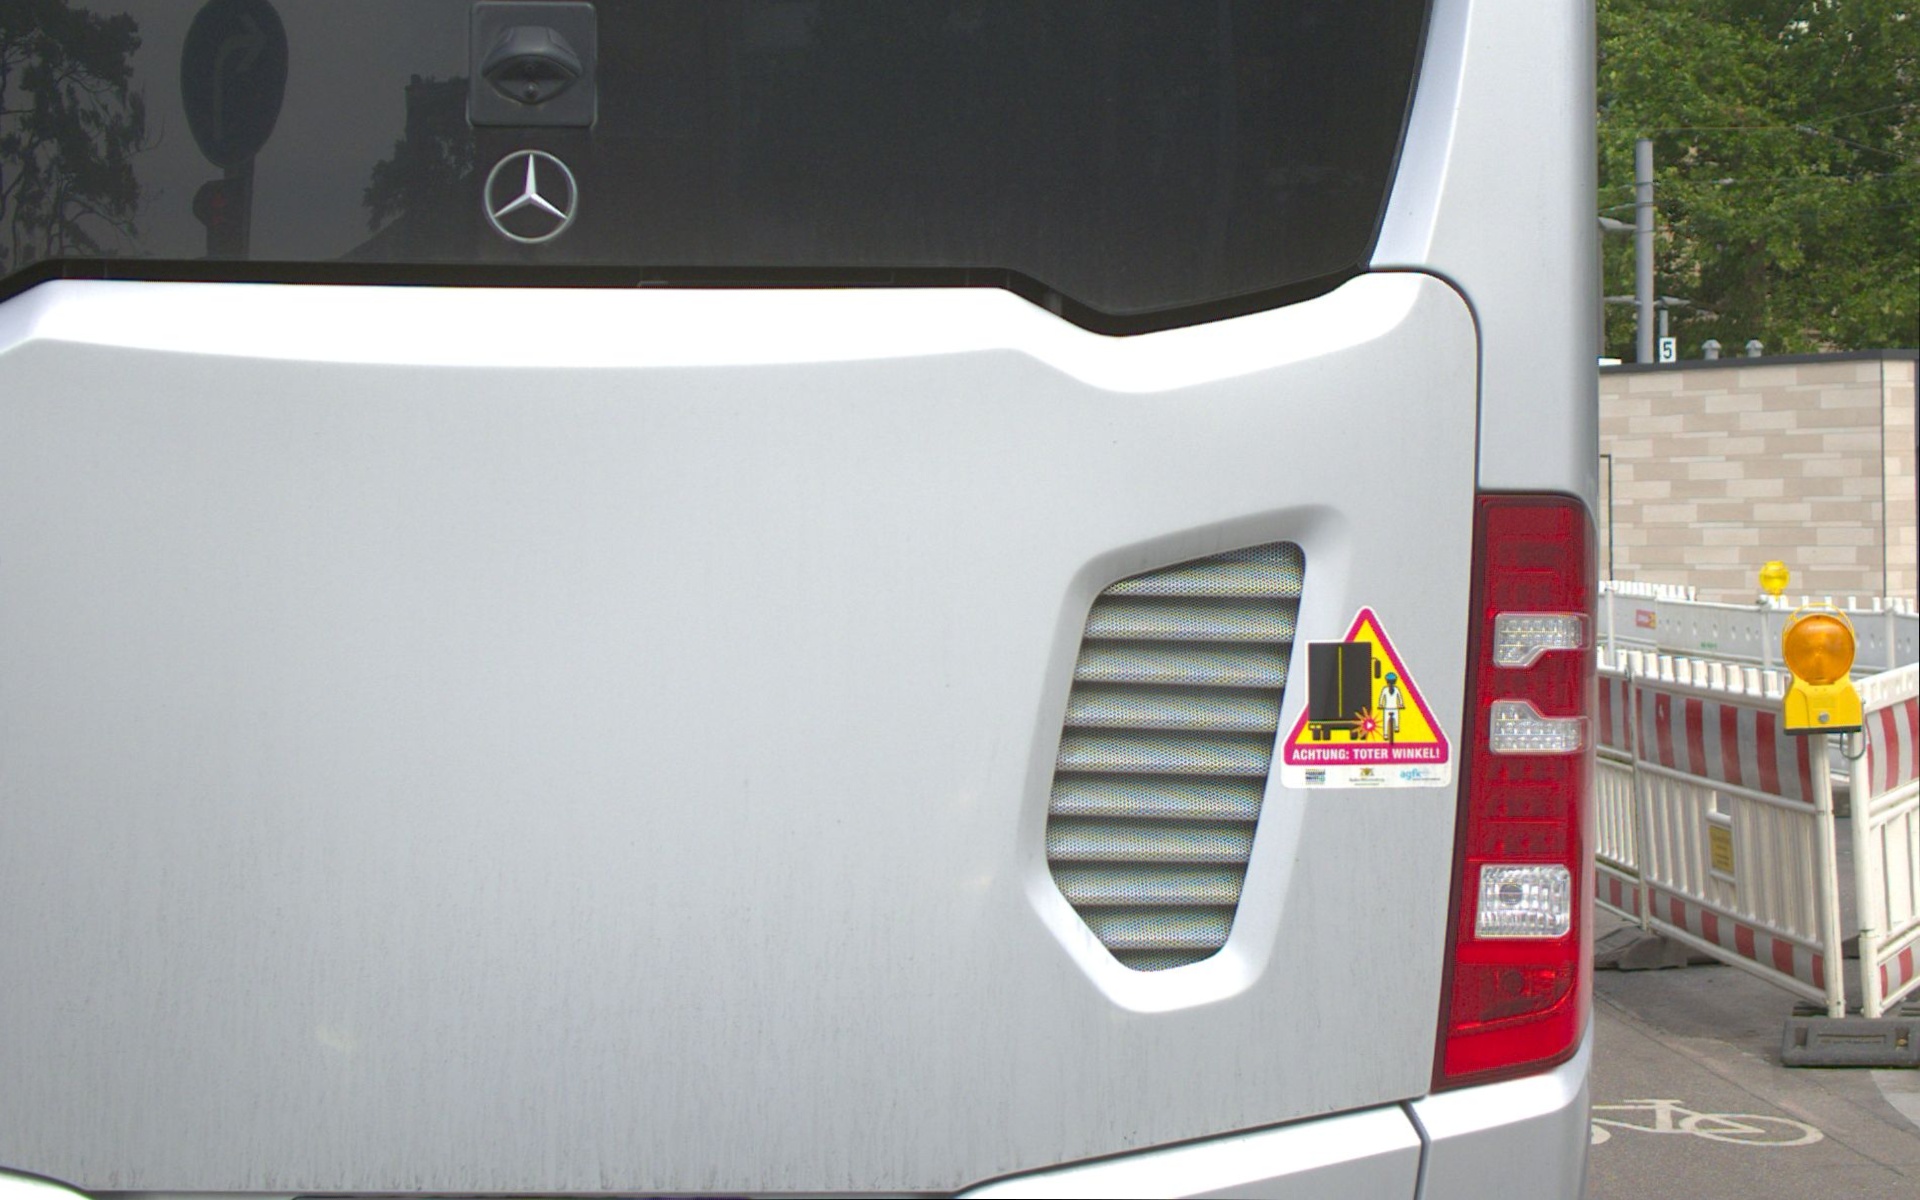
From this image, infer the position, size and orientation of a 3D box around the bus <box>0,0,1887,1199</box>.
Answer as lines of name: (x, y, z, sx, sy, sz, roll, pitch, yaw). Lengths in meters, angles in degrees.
bus: (-0.183, -0.347, 10.530, 2.705, 3.426, 14.183, 0, 1, 2)
